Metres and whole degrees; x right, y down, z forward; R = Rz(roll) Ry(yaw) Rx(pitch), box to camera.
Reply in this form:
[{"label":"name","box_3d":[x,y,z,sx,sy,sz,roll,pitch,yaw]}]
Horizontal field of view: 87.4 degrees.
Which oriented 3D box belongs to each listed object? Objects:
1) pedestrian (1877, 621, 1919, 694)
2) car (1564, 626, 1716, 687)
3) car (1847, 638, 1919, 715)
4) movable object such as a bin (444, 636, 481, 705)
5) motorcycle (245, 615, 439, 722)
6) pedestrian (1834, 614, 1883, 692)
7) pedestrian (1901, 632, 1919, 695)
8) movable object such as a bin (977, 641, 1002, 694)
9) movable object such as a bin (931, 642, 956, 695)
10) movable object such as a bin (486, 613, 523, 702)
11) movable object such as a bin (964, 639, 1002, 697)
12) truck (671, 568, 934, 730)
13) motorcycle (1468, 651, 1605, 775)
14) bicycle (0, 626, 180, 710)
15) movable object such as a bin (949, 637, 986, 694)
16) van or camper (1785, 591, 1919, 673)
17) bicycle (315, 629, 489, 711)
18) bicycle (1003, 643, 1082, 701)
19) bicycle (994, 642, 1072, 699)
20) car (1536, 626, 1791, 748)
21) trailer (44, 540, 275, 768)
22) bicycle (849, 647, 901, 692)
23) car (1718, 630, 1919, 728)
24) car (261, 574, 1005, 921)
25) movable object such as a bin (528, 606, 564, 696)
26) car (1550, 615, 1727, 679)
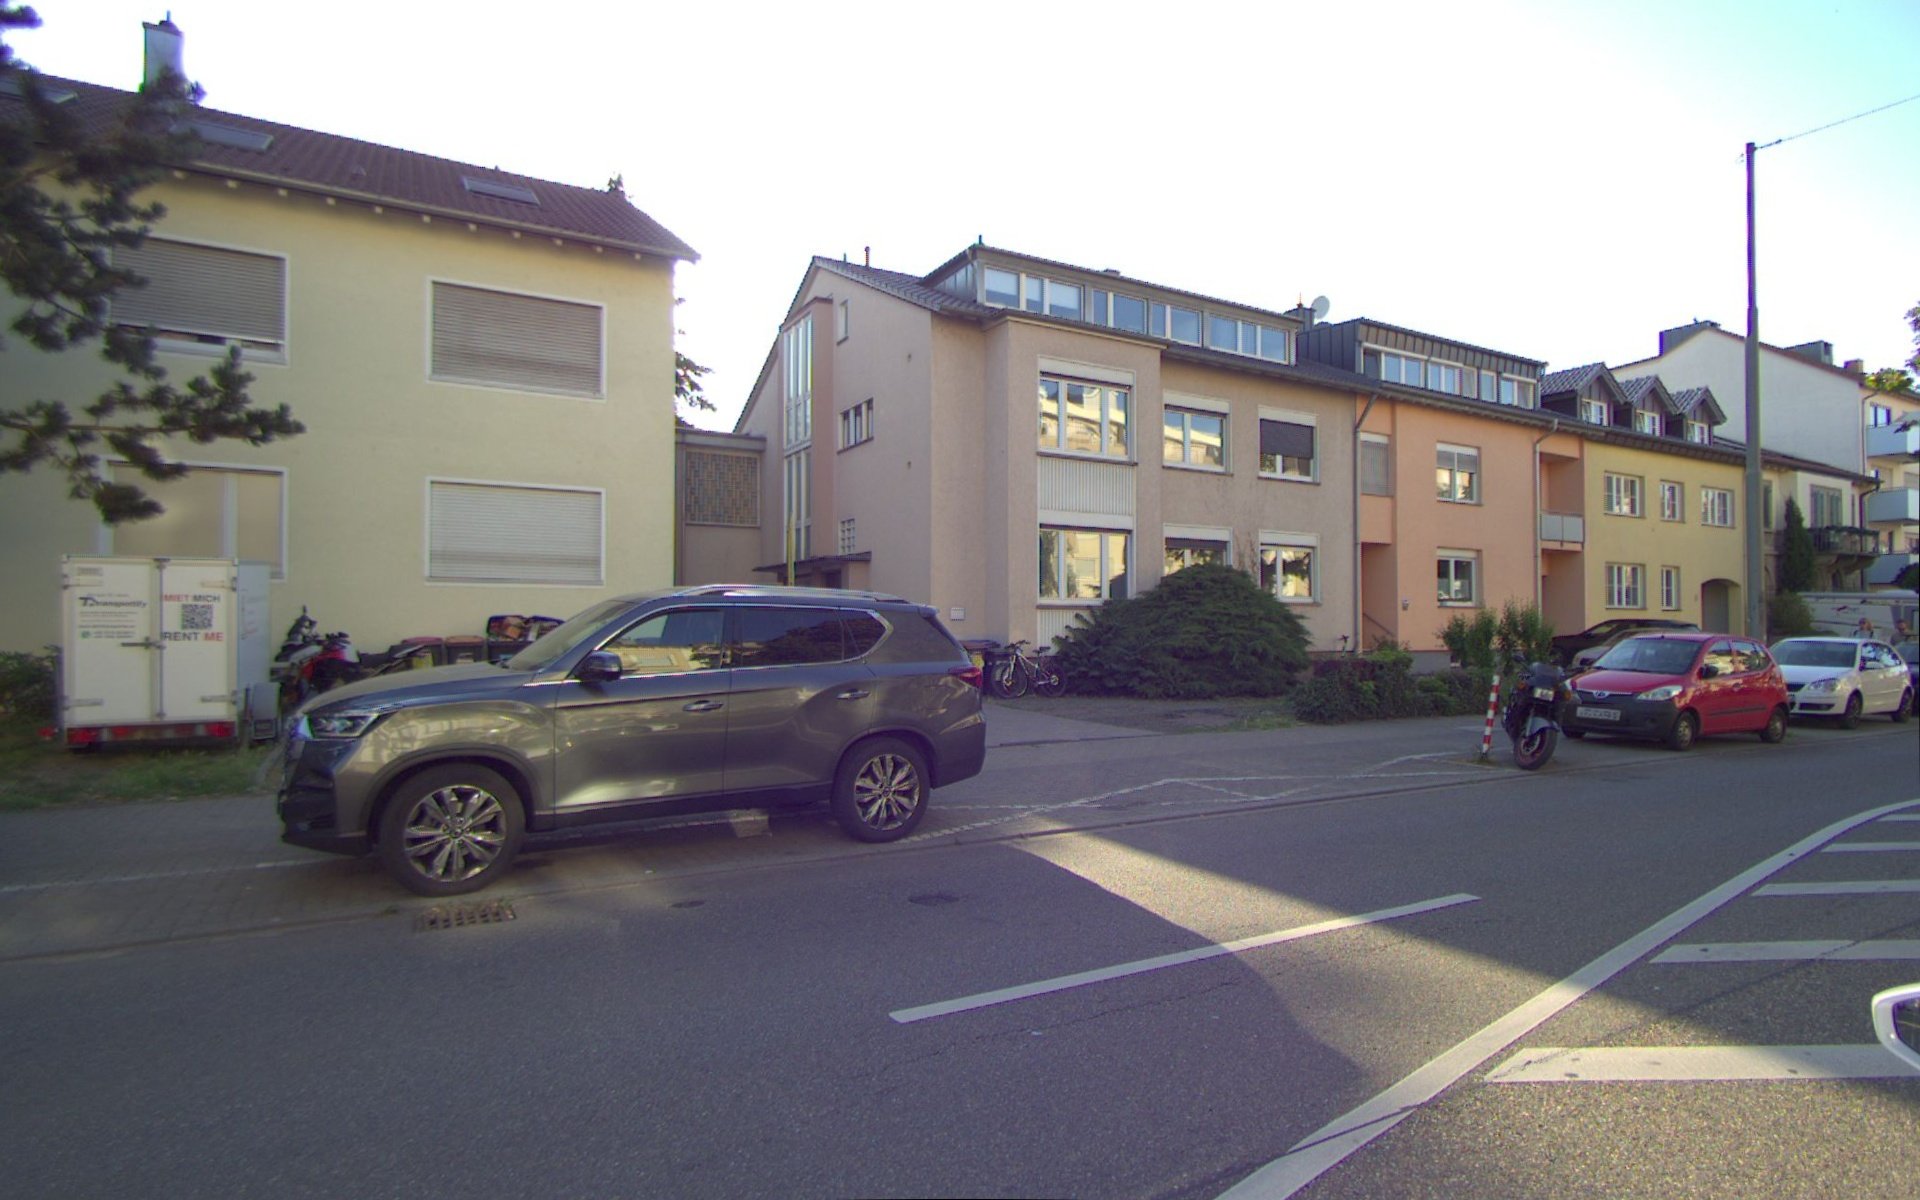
[{"label":"pedestrian","box_3d":[23.910,1.450,25.537,0.564,1.816,0.711,1,-2,-27]},{"label":"car","box_3d":[17.080,1.380,25.212,3.706,1.427,1.658,1,-3,-29]},{"label":"car","box_3d":[19.227,1.460,19.837,3.623,1.415,1.536,1,-2,-30]},{"label":"movable object such as a bin","box_3d":[-7.688,1.079,15.525,0.480,1.044,0.478,1,-1,-29]},{"label":"motorcycle","box_3d":[-8.503,0.918,13.942,2.232,1.392,0.568,1,-2,-31]},{"label":"pedestrian","box_3d":[21.258,1.237,23.779,0.499,1.816,0.711,1,-2,-27]},{"label":"pedestrian","box_3d":[23.432,1.535,24.472,0.535,1.515,0.588,1,-2,-27]},{"label":"movable object such as a bin","box_3d":[0.591,1.358,20.219,0.345,1.051,0.433,1,-2,-30]},{"label":"movable object such as a bin","box_3d":[-0.333,1.356,19.999,0.285,1.051,0.501,1,-2,-30]},{"label":"movable object such as a bin","box_3d":[-7.184,0.891,15.839,0.480,1.376,0.478,1,-1,-29]},{"label":"movable object such as a bin","box_3d":[0.444,1.302,19.380,0.579,1.105,0.486,1,-2,-30]},{"label":"truck","box_3d":[-3.031,0.773,17.330,2.249,2.214,6.864,1,-2,-29]},{"label":"motorcycle","box_3d":[6.922,1.269,11.992,1.164,1.282,2.362,-1,-2,36]},{"label":"bicycle","box_3d":[-11.829,0.890,13.517,2.022,1.078,0.516,1,-2,-31]},{"label":"movable object such as a bin","box_3d":[0.143,1.292,19.949,0.579,1.105,0.486,1,-2,-30]},{"label":"van or camper","box_3d":[34.173,1.134,35.933,2.324,2.810,6.764,1,1,-30]},{"label":"bicycle","box_3d":[-8.335,1.027,15.078,2.232,1.156,0.567,1,-1,-31]},{"label":"bicycle","box_3d":[1.647,1.410,19.897,1.691,1.100,0.331,1,-2,-31]},{"label":"bicycle","box_3d":[1.483,1.407,20.217,1.691,1.100,0.331,1,-2,-31]},{"label":"car","box_3d":[9.985,1.154,14.239,3.392,1.543,1.587,1,-2,-28]},{"label":"trailer","box_3d":[-8.238,0.530,10.571,1.535,2.040,2.758,1,-2,-32]},{"label":"bicycle","box_3d":[-1.868,1.518,21.948,0.582,0.942,1.589,1,-5,-27]},{"label":"car","box_3d":[15.085,1.314,17.593,3.847,1.543,1.585,1,-2,-31]},{"label":"car","box_3d":[-2.121,0.831,7.277,4.673,1.802,1.877,1,-2,-32]},{"label":"movable object such as a bin","box_3d":[-6.654,0.812,16.139,0.480,1.420,0.478,1,-1,-29]},{"label":"car","box_3d":[20.215,1.356,30.096,1.843,1.658,3.970,1,0,-28]}]
